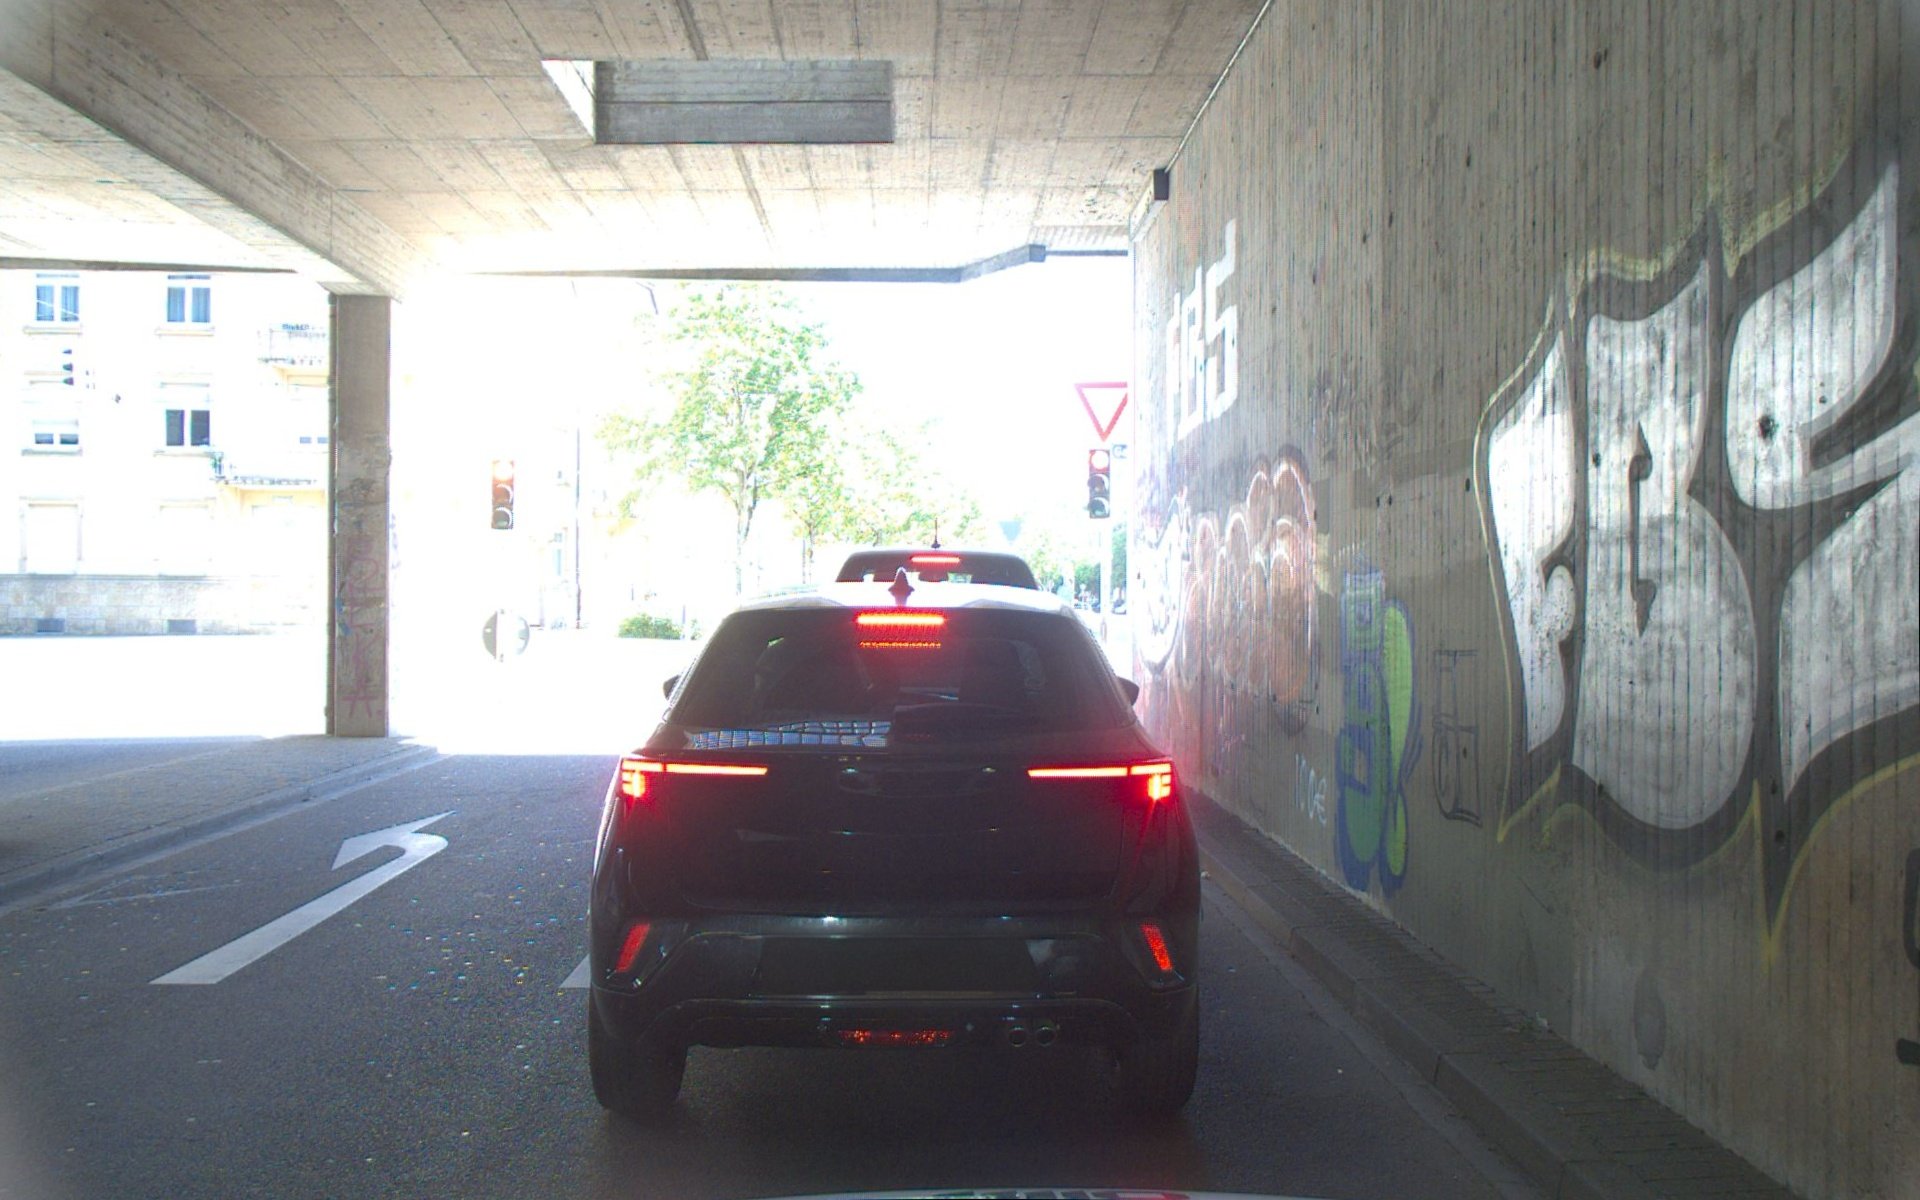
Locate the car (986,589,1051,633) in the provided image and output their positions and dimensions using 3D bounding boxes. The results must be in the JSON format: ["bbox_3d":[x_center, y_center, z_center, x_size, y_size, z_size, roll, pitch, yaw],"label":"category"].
[{"bbox_3d":[2.463,0.483,69.022,2.173,1.749,4.463,0,-1,9],"label":"car"}]

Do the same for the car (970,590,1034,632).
[{"bbox_3d":[1.619,0.441,62.199,1.926,1.523,3.899,0,-1,8],"label":"car"}]

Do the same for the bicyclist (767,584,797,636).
[{"bbox_3d":[-5.540,0.306,51.438,0.713,1.609,0.815,1,-1,9],"label":"bicyclist"}]

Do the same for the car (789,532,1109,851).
[{"bbox_3d":[-0.093,0.537,11.868,1.906,1.892,3.963,0,0,-1],"label":"car"}]

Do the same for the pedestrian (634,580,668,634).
[{"bbox_3d":[-11.883,0.270,63.639,0.971,2.049,1.089,0,0,7],"label":"pedestrian"}]

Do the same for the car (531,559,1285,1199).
[{"bbox_3d":[-0.152,0.676,6.043,1.844,1.565,3.963,0,0,-1],"label":"car"}]

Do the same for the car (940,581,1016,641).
[{"bbox_3d":[0.496,0.337,44.162,1.927,1.523,3.896,0,-1,1],"label":"car"}]

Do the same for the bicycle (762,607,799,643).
[{"bbox_3d":[-5.559,0.771,51.405,0.716,1.086,1.690,1,0,9],"label":"bicycle"}]

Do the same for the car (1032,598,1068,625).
[{"bbox_3d":[5.704,0.720,104.734,1.951,1.691,4.003,1,0,8],"label":"car"}]
